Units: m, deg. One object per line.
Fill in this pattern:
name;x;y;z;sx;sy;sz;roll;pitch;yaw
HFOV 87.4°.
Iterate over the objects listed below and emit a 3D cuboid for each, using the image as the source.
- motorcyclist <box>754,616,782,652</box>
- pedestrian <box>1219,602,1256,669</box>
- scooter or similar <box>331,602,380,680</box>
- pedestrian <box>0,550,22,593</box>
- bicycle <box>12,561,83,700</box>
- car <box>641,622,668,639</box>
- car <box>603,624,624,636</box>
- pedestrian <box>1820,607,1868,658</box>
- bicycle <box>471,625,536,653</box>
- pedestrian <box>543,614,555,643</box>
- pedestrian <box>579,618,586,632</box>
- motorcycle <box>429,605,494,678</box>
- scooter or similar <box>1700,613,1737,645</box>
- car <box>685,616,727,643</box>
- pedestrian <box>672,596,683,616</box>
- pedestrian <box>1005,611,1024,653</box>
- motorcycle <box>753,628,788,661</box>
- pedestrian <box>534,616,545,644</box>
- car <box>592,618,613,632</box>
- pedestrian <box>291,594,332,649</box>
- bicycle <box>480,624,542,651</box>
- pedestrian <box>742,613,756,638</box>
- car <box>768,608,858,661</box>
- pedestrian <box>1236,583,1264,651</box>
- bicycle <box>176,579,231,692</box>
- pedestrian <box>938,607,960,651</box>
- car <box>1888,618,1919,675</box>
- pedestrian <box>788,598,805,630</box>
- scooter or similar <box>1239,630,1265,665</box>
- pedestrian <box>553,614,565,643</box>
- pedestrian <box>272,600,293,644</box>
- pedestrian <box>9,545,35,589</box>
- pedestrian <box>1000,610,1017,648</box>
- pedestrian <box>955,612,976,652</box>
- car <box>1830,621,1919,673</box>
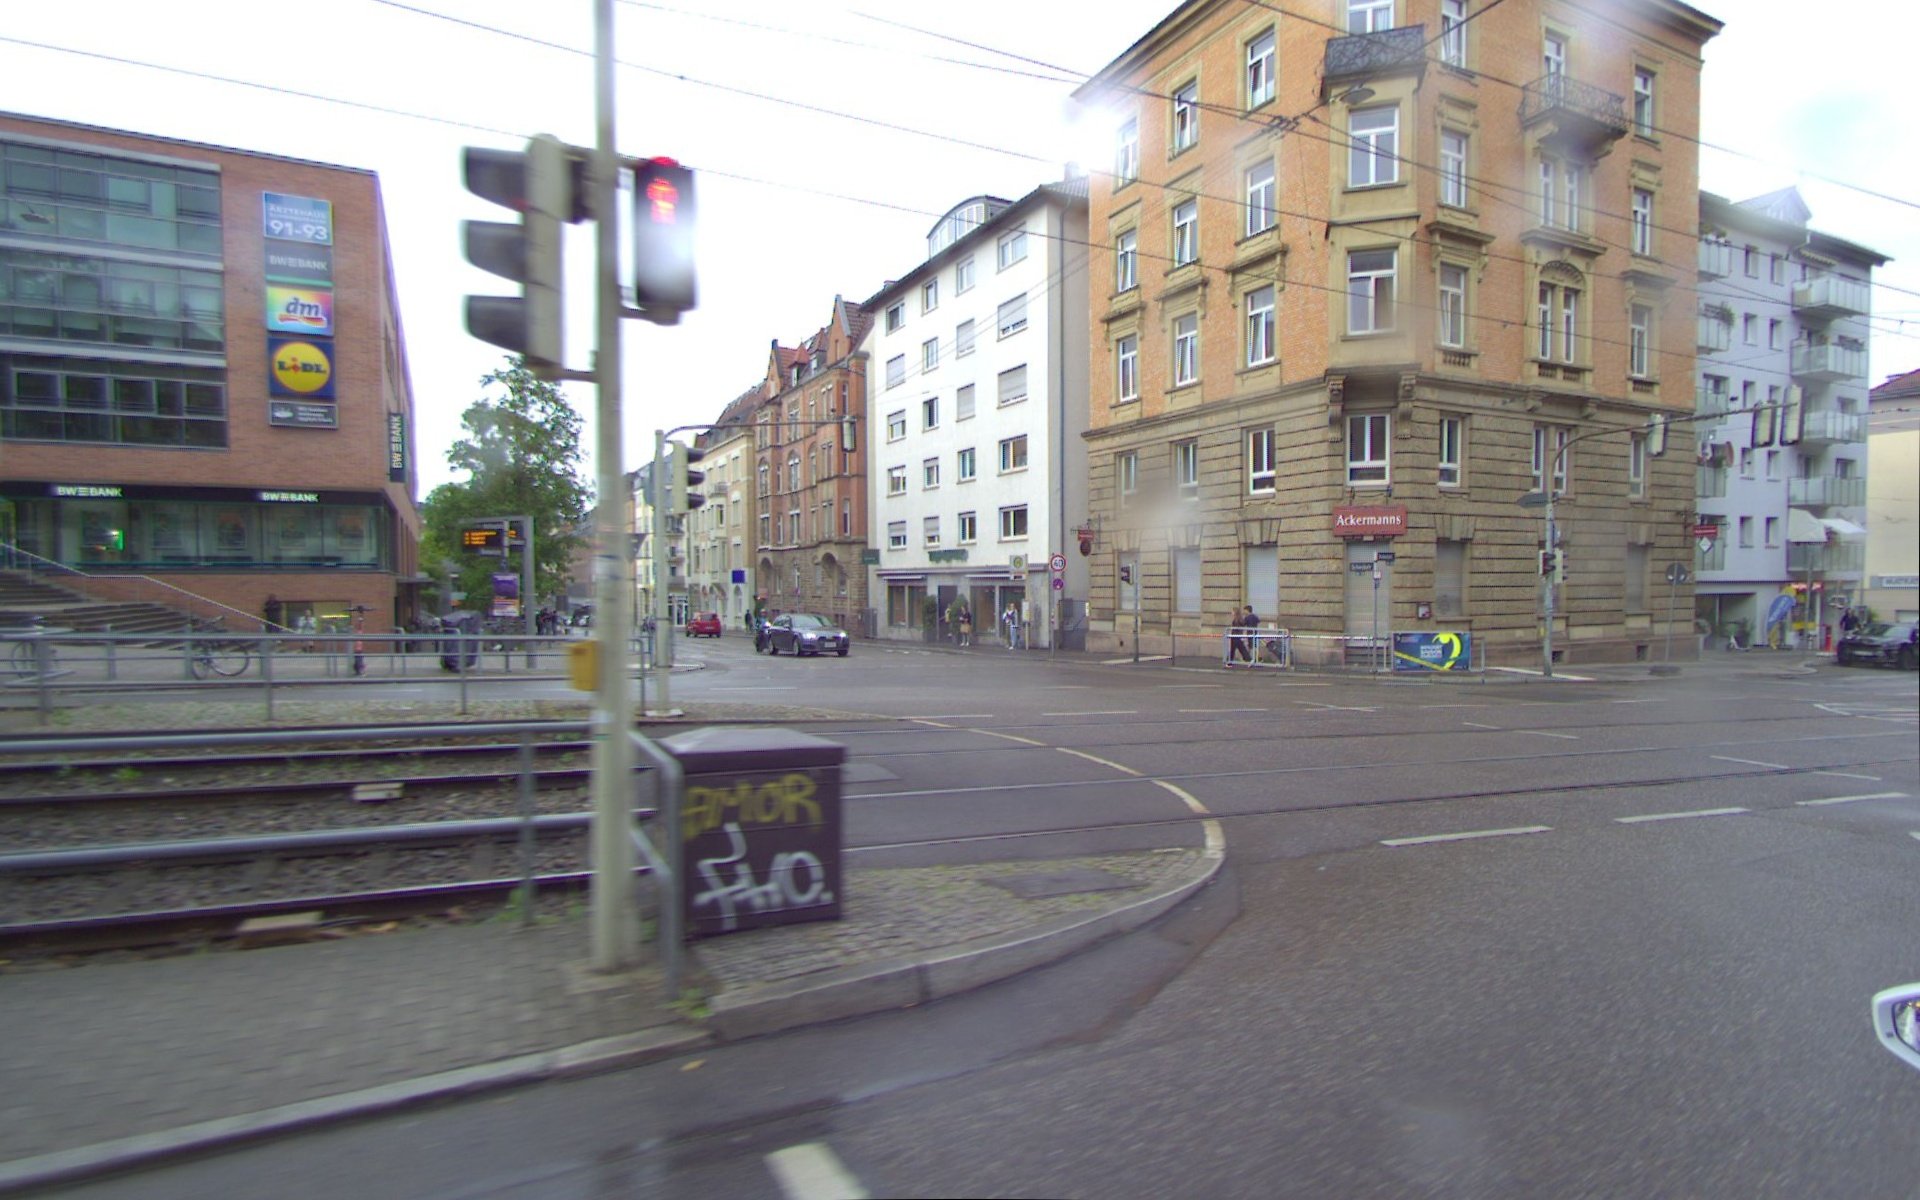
motorcyclist;-7.362;1.298;38.481;0.831;1.320;0.809;1;0;-27
pedestrian;7.545;0.960;27.363;0.632;1.790;0.623;-3;0;-27
scooter or similar;-11.280;0.731;18.715;0.450;1.389;1.487;1;0;-44
pedestrian;-39.338;-1.175;41.570;0.722;1.753;0.641;1;0;-40
bicycle;-14.193;0.438;15.653;0.513;2.040;1.879;1;0;-34
car;-26.612;2.642;87.434;1.615;1.309;3.974;1;0;-25
car;-41.023;3.501;118.905;1.617;1.309;3.989;1;0;-29
pedestrian;34.485;1.259;39.192;1.166;1.955;1.164;1;0;-35
bicycle;-18.667;1.572;41.118;2.344;1.116;0.693;1;0;-36
pedestrian;-23.555;1.611;57.511;0.568;1.651;0.569;1;0;-29
pedestrian;-51.770;3.419;137.794;0.804;1.861;0.764;1;-1;-29
motorcycle;-10.234;0.824;20.560;0.857;1.389;2.634;2;-1;-34
scooter or similar;30.348;1.156;40.213;0.314;1.225;1.081;1;-4;-38
car;-16.187;1.833;63.876;1.616;1.603;3.970;1;0;-29
pedestrian;-26.174;0.553;92.999;0.804;1.861;0.764;1;-1;-29
pedestrian;2.177;1.277;40.150;0.587;1.690;0.600;1;-1;-18
motorcycle;-7.232;1.679;38.213;0.855;1.174;1.839;1;-1;-26
pedestrian;-24.555;1.748;58.657;0.566;1.651;0.483;1;0;-27
car;-37.064;2.617;104.092;1.614;1.309;3.975;1;0;-25
pedestrian;-20.695;0.688;32.094;0.996;1.753;0.893;1;-1;-28
bicycle;-18.895;1.575;42.305;2.335;1.116;0.847;1;0;-25
pedestrian;-15.567;1.860;73.978;0.804;1.861;0.764;1;-1;-29
car;-5.104;1.166;34.475;1.819;1.687;3.971;1;-2;-28
pedestrian;8.089;0.475;28.040;0.616;1.864;0.639;0;-1;30
bicycle;-12.553;0.554;16.707;0.551;1.720;2.077;3;1;-34
pedestrian;-0.516;1.345;47.086;0.757;2.040;0.861;1;-1;-23
car;37.511;1.740;37.894;5.236;2.036;2.061;1;2;-29
pedestrian;-9.636;0.806;59.175;0.804;1.861;0.764;1;-1;-29
scooter or similar;8.150;1.329;28.031;0.546;0.957;0.576;0;-1;32
pedestrian;-23.187;1.655;58.083;0.592;1.651;0.569;1;0;-29
pedestrian;-24.674;0.813;36.588;0.585;1.587;0.516;1;0;-30
pedestrian;-37.804;-1.329;40.486;0.642;1.753;0.613;1;0;-35
pedestrian;1.971;1.178;41.033;0.491;1.557;0.529;1;0;-24
pedestrian;0.237;1.396;43.994;0.658;1.692;0.828;1;0;-24
car;32.143;1.600;34.749;4.310;1.673;1.725;1;0;-29
